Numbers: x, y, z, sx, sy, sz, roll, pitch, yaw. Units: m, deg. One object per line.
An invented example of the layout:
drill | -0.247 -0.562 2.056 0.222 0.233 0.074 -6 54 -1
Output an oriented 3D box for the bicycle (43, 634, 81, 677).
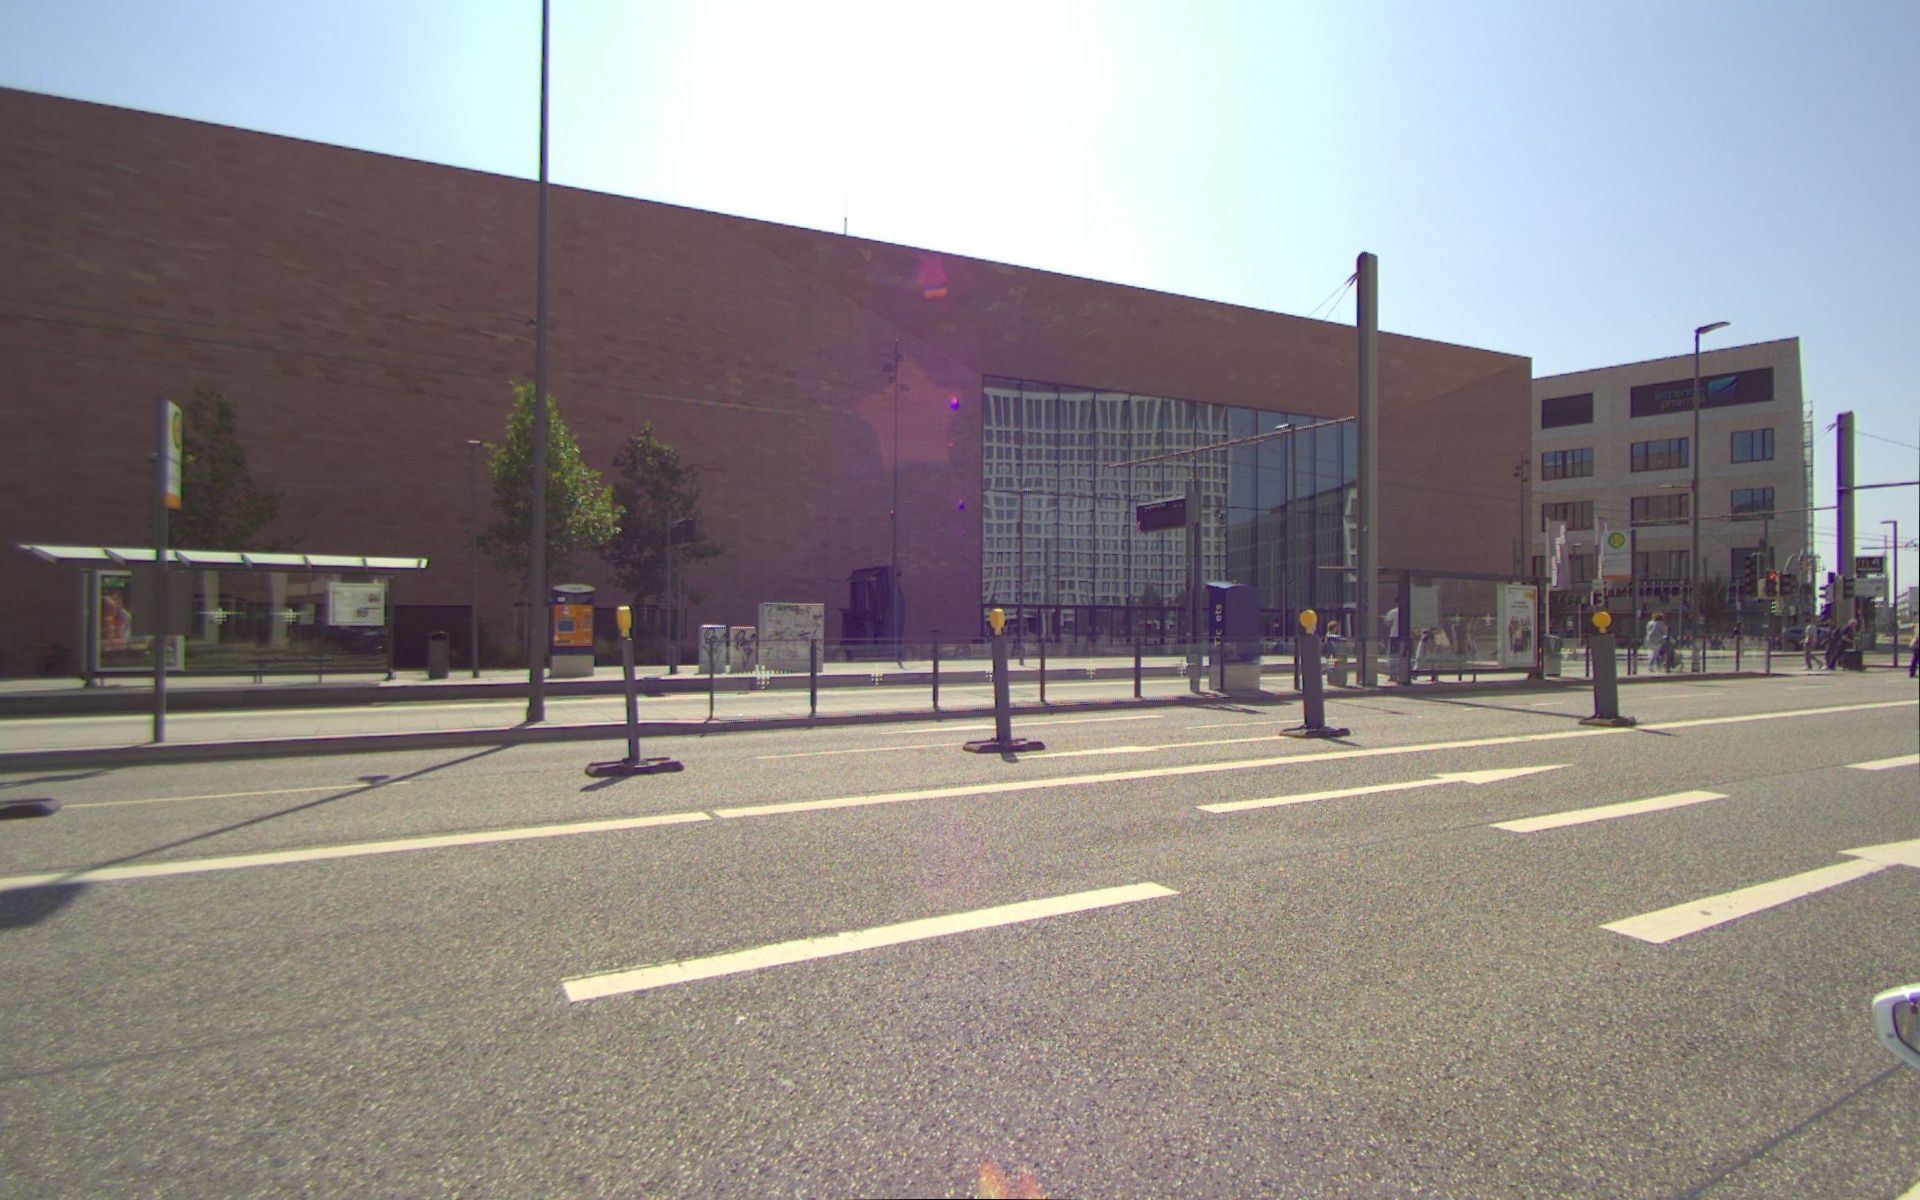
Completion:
bicycle | -25.831 1.567 28.919 0.590 1.168 2.225 1 -1 -36

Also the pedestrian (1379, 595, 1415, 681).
pedestrian | 9.512 0.816 21.872 0.543 1.844 0.597 1 0 39

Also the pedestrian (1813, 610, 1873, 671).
pedestrian | 28.673 1.306 32.629 1.046 1.915 1.164 -1 0 -28

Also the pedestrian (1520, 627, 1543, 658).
pedestrian | 29.613 2.196 52.023 0.880 1.592 0.707 1 -1 -31

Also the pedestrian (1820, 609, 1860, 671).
pedestrian | 29.684 1.332 33.894 1.009 2.040 0.949 -1 -1 42

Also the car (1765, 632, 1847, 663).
car | 55.700 3.096 66.189 1.784 1.840 3.906 2 -1 -41

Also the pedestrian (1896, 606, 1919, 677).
pedestrian | 26.087 1.121 27.361 0.786 1.915 0.634 1 -1 -29

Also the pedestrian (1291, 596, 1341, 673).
pedestrian | 8.753 0.838 24.706 0.815 1.844 0.807 1 0 -30

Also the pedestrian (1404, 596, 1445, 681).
pedestrian | 10.351 0.833 22.383 0.654 1.844 0.720 1 0 37

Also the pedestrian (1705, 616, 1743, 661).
pedestrian | 33.349 1.678 43.833 0.966 1.915 0.889 0 -1 -10

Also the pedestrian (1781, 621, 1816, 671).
pedestrian | 28.802 1.559 34.506 0.883 1.696 1.008 -1 -1 42

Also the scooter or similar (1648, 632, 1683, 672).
scooter or similar | 19.602 1.435 27.911 0.824 1.073 0.502 1 -1 -30

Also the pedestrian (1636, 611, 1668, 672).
pedestrian | 18.962 1.123 27.538 0.642 1.643 0.502 1 -1 -30
